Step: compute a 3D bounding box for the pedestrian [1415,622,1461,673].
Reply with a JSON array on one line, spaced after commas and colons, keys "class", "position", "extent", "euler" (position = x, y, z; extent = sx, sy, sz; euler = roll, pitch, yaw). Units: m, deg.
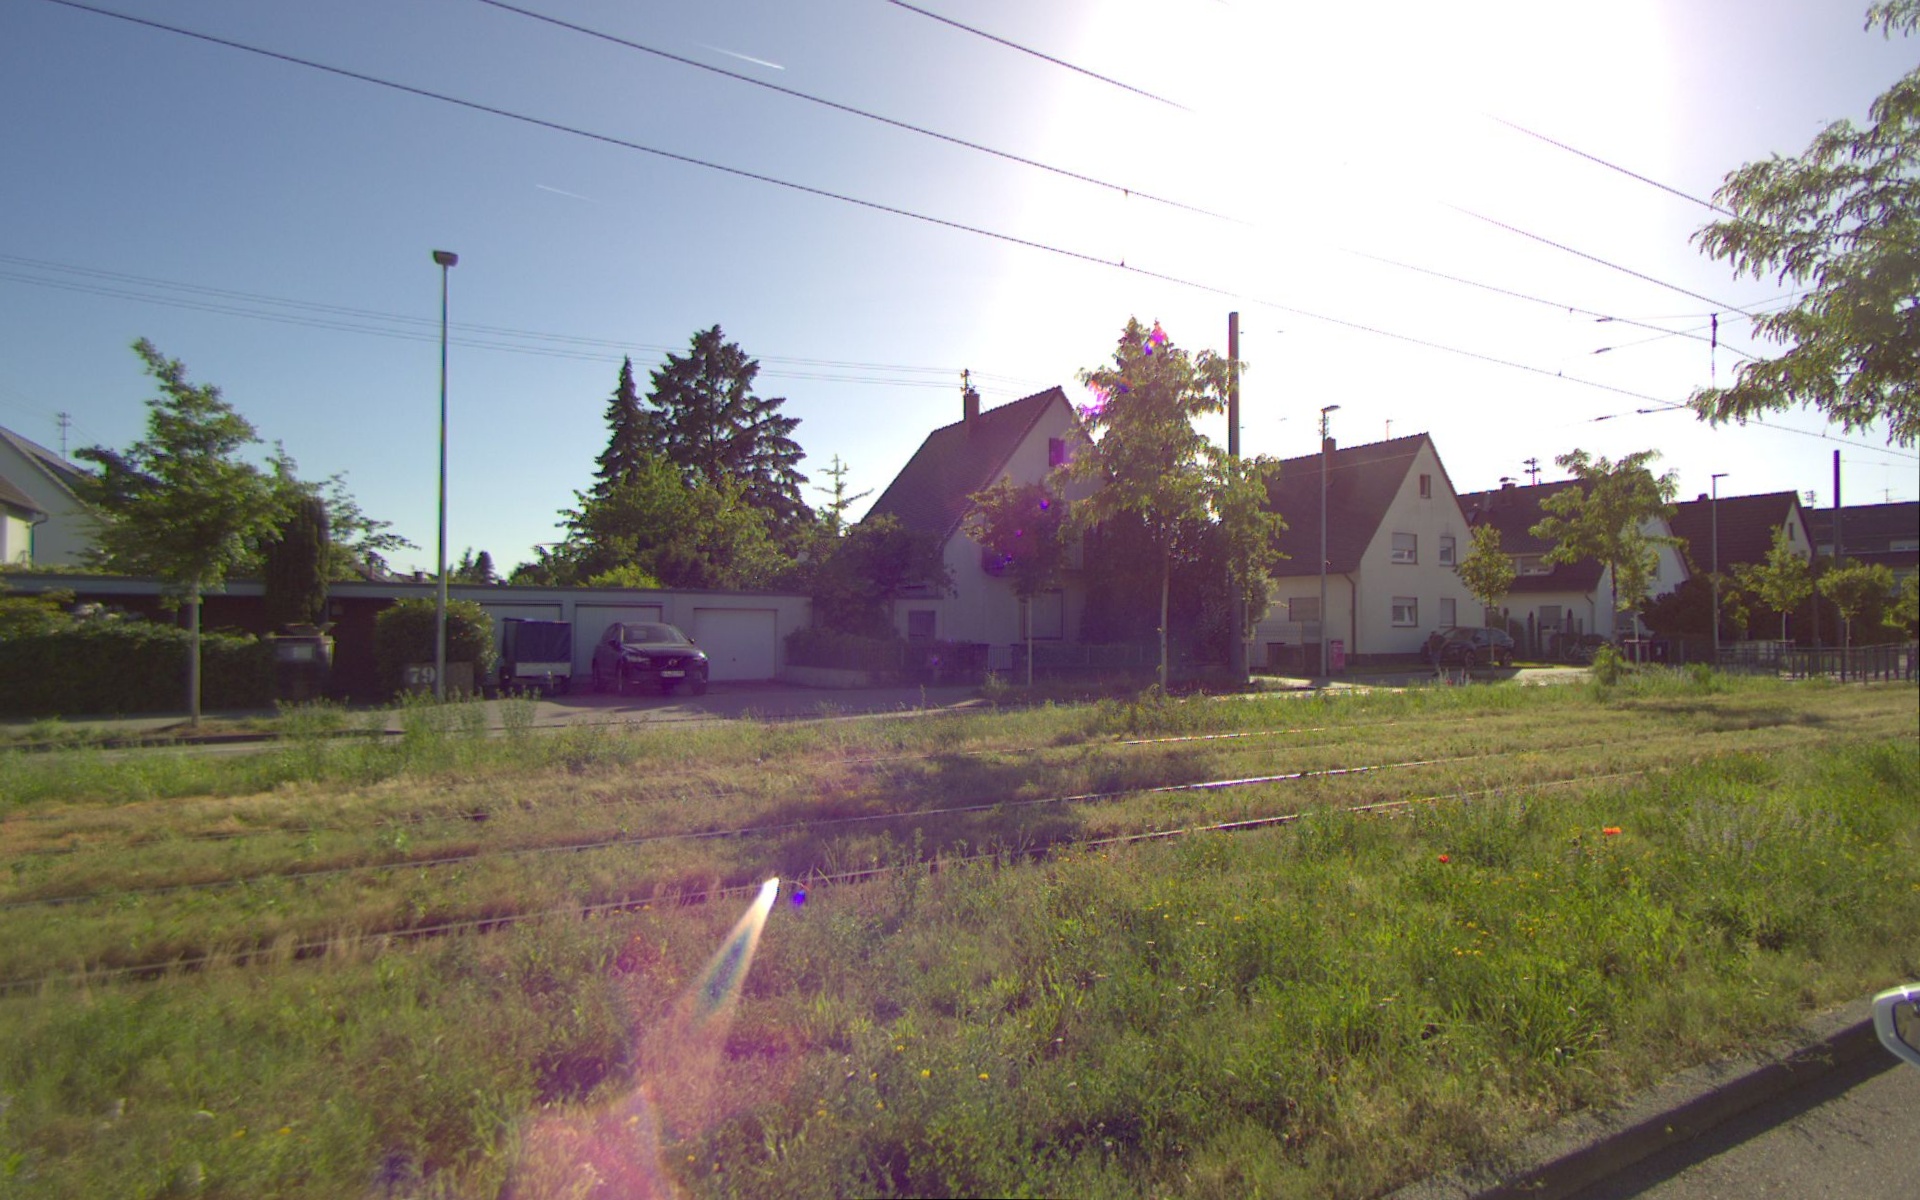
[{"class": "pedestrian", "position": [15.979, 1.573, 33.567], "extent": [1.073, 1.662, 0.960], "euler": [1, -2, -30]}]

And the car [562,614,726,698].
[{"class": "car", "position": [-7.398, 1.241, 23.272], "extent": [2.037, 1.757, 4.501], "euler": [2, -2, -41]}]

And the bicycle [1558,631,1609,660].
[{"class": "bicycle", "position": [30.175, 2.194, 48.655], "extent": [0.698, 1.383, 1.975], "euler": [1, -2, -36]}]

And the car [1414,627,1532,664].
[{"class": "car", "position": [21.231, 1.869, 41.514], "extent": [5.102, 1.469, 1.925], "euler": [1, -2, -30]}]

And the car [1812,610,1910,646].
[{"class": "car", "position": [52.639, 1.615, 58.737], "extent": [1.915, 1.996, 3.958], "euler": [2, -1, -37]}]

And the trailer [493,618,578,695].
[{"class": "trailer", "position": [-9.947, 1.270, 23.442], "extent": [1.383, 1.669, 2.898], "euler": [1, -2, -32]}]
